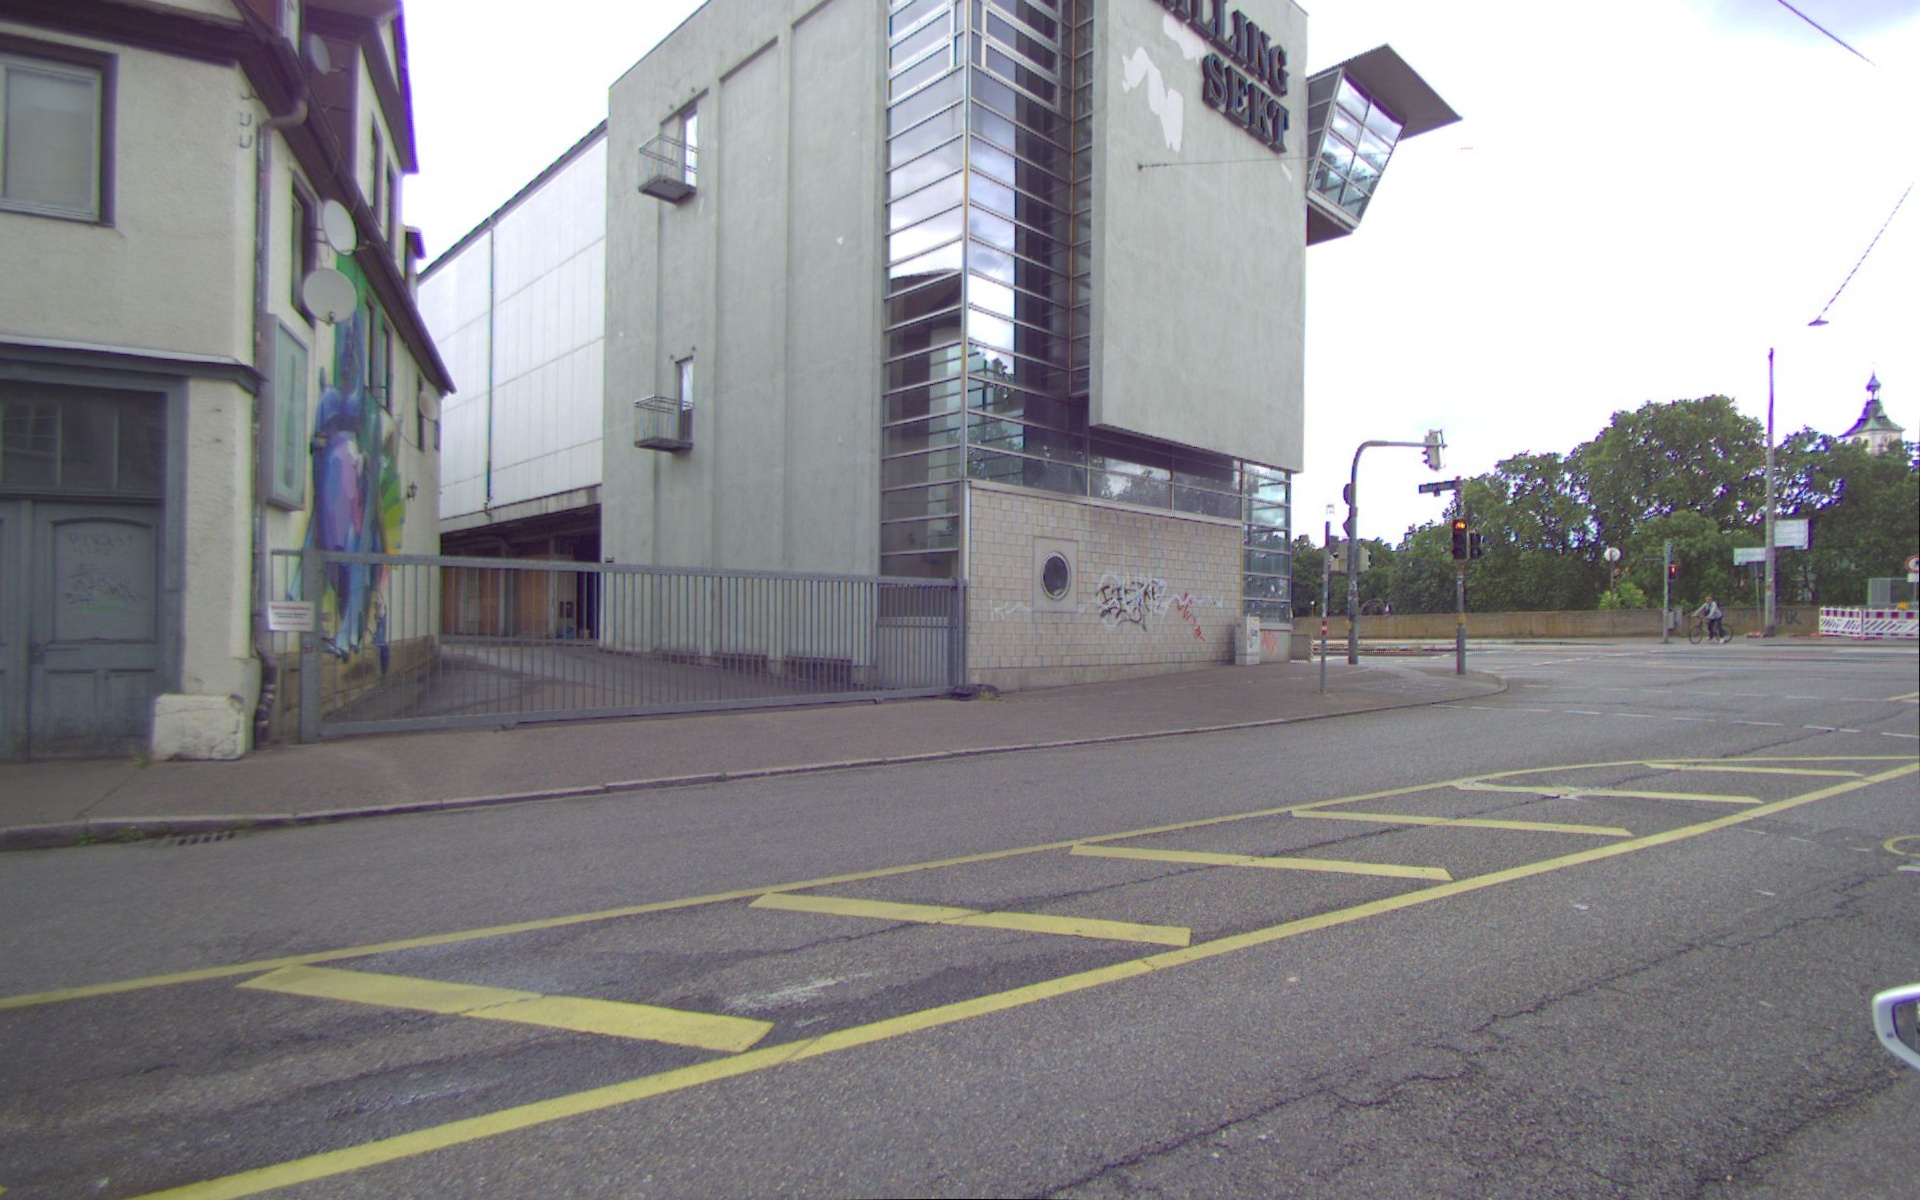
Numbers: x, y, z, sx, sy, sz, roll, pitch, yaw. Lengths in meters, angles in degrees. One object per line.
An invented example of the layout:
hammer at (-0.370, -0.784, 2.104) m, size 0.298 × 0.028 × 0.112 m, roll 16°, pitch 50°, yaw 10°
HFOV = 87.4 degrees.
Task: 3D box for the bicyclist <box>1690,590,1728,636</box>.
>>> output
bicyclist at (28.880, 0.503, 38.729) m, size 0.985 × 1.767 × 0.755 m, roll 0°, pitch 1°, yaw 19°

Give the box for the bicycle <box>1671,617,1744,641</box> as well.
bicycle at (28.861, 1.111, 38.815) m, size 2.096 × 0.904 × 0.760 m, roll -1°, pitch 0°, yaw 19°
